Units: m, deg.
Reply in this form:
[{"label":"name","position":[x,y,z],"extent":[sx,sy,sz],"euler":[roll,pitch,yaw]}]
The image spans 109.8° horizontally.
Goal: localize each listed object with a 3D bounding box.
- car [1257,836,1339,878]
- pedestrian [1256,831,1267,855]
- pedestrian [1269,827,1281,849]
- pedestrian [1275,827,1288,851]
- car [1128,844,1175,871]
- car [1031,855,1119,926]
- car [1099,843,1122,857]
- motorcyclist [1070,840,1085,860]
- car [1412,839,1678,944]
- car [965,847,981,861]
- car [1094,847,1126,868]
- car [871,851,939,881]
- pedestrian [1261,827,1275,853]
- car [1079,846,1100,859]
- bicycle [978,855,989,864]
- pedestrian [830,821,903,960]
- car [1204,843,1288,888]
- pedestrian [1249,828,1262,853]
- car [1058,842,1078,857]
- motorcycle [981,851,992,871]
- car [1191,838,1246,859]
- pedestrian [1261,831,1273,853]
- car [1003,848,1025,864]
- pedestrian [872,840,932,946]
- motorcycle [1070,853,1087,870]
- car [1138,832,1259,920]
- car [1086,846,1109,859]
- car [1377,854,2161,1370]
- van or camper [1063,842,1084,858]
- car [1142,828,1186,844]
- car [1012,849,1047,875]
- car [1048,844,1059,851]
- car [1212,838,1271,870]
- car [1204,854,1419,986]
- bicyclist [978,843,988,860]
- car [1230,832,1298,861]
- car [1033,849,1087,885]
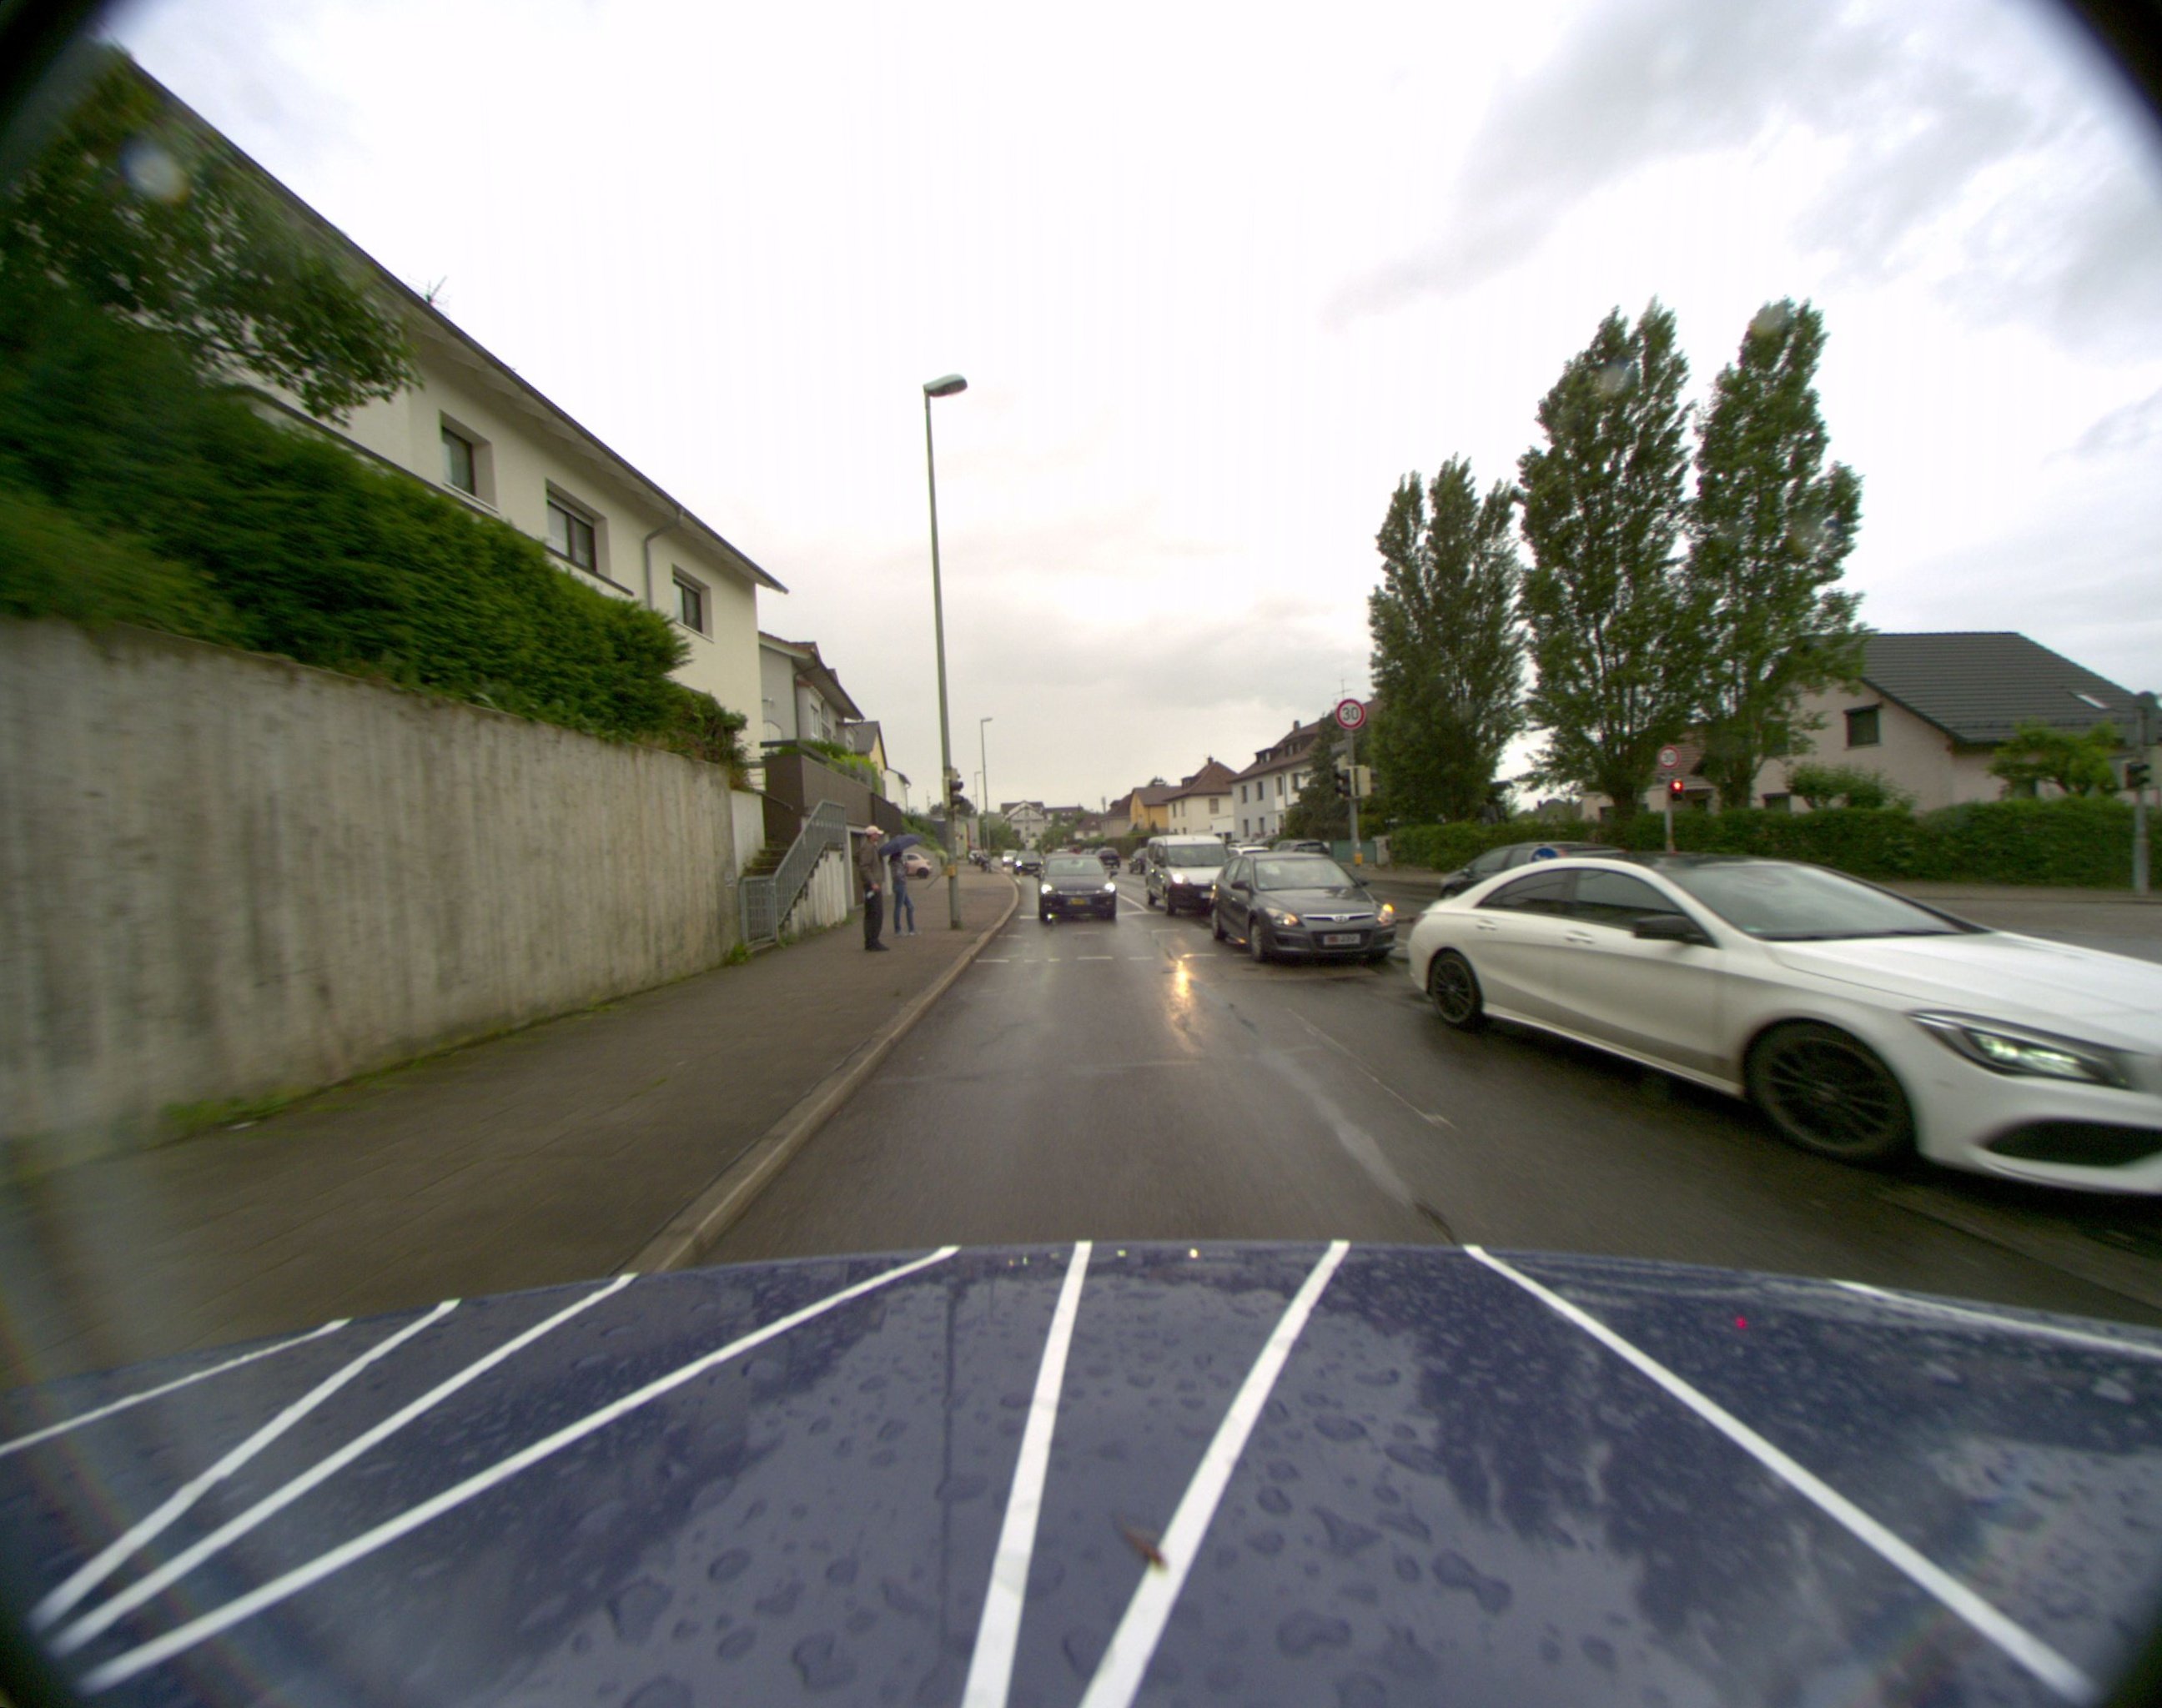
[{"label":"car","position":[9.503,0.085,33.644],"extent":[1.810,1.660,4.594],"euler":[-2,1,-7]},{"label":"pedestrian","position":[13.944,-0.837,58.826],"extent":[0.652,1.776,0.648],"euler":[-4,0,16]},{"label":"pedestrian","position":[14.780,-1.199,57.903],"extent":[0.584,1.661,0.575],"euler":[-6,2,-9]},{"label":"pedestrian","position":[14.553,-1.087,55.110],"extent":[0.674,1.661,0.691],"euler":[-5,2,22]},{"label":"car","position":[4.084,0.195,44.784],"extent":[1.859,1.455,3.997],"euler":[-2,1,-8]},{"label":"car","position":[-0.130,0.779,18.111],"extent":[1.840,1.390,3.999],"euler":[-1,1,0]},{"label":"car","position":[3.100,-0.467,80.954],"extent":[1.810,1.407,3.997],"euler":[-1,1,-7]},{"label":"motorcyclist","position":[-0.252,-0.287,53.525],"extent":[0.953,1.413,0.992],"euler":[-2,1,-5]},{"label":"car","position":[8.039,0.536,13.682],"extent":[2.000,1.565,3.996],"euler":[-1,1,-8]},{"label":"car","position":[-12.571,-0.013,88.731],"extent":[1.738,1.481,3.997],"euler":[-1,1,-7]},{"label":"car","position":[2.182,0.223,58.533],"extent":[1.717,1.494,3.996],"euler":[-2,1,-8]},{"label":"car","position":[-10.126,0.669,43.860],"extent":[3.644,1.477,1.810],"euler":[-2,1,-12]},{"label":"pedestrian","position":[13.789,-1.055,56.092],"extent":[0.734,1.856,0.686],"euler":[-5,2,-2]},{"label":"car","position":[1.053,-0.185,91.890],"extent":[1.811,1.505,3.996],"euler":[-1,1,-10]},{"label":"bicycle","position":[-9.789,0.558,76.161],"extent":[0.733,0.822,2.234],"euler":[-1,1,2]},{"label":"pedestrian","position":[-3.200,0.524,11.407],"extent":[0.799,2.002,0.734],"euler":[-2,2,-1]},{"label":"car","position":[6.308,0.374,29.632],"extent":[1.841,1.547,4.767],"euler":[-1,1,-5]},{"label":"pedestrian","position":[13.039,-0.997,56.636],"extent":[0.670,1.778,0.539],"euler":[-5,2,-3]},{"label":"car","position":[-1.457,-0.523,85.252],"extent":[1.838,1.521,3.997],"euler":[-1,1,-7]},{"label":"motorcycle","position":[-6.761,0.480,54.491],"extent":[0.694,1.317,2.477],"euler":[-1,1,-9]},{"label":"car","position":[11.214,-0.480,62.020],"extent":[3.999,1.412,1.883],"euler":[-5,1,-7]},{"label":"pedestrian","position":[14.574,-0.928,59.643],"extent":[0.588,1.698,0.561],"euler":[-6,2,-9]},{"label":"car","position":[-6.565,0.219,74.387],"extent":[1.842,1.472,3.997],"euler":[-1,0,-10]},{"label":"pedestrian","position":[-3.085,0.644,13.198],"extent":[0.796,1.770,1.011],"euler":[-1,1,-1]},{"label":"motorcycle","position":[-0.202,0.483,53.304],"extent":[0.944,1.101,2.404],"euler":[-2,1,-5]},{"label":"car","position":[2.742,0.455,18.860],"extent":[1.957,1.860,4.744],"euler":[-1,1,-4]},{"label":"car","position":[1.880,-0.155,86.784],"extent":[1.811,1.407,3.996],"euler":[-1,1,-10]},{"label":"car","position":[4.005,0.816,4.792],"extent":[1.914,1.519,4.647],"euler":[-2,1,-8]},{"label":"van or camper","position":[-1.108,-0.581,106.156],"extent":[2.191,2.002,5.129],"euler":[-2,1,-8]},{"label":"car","position":[8.483,-1.832,78.027],"extent":[4.115,1.475,1.838],"euler":[2,-1,-14]},{"label":"car","position":[-3.380,0.571,49.039],"extent":[1.842,1.448,3.999],"euler":[-1,-3,-9]},{"label":"car","position":[-5.884,-1.395,162.368],"extent":[2.000,1.565,3.996],"euler":[-2,1,-7]},{"label":"car","position":[8.463,-0.061,40.509],"extent":[1.810,1.559,4.139],"euler":[-2,1,-7]},{"label":"car","position":[3.101,0.790,11.148],"extent":[1.840,1.478,4.057],"euler":[-2,1,-1]},{"label":"bicyclist","position":[-9.817,-0.259,76.133],"extent":[0.809,1.633,0.906],"euler":[-1,1,2]},{"label":"car","position":[12.569,-0.507,52.219],"extent":[3.999,1.555,1.871],"euler":[-7,1,-6]},{"label":"car","position":[-1.007,0.584,33.385],"extent":[1.911,1.389,4.855],"euler":[-2,-1,-7]}]
